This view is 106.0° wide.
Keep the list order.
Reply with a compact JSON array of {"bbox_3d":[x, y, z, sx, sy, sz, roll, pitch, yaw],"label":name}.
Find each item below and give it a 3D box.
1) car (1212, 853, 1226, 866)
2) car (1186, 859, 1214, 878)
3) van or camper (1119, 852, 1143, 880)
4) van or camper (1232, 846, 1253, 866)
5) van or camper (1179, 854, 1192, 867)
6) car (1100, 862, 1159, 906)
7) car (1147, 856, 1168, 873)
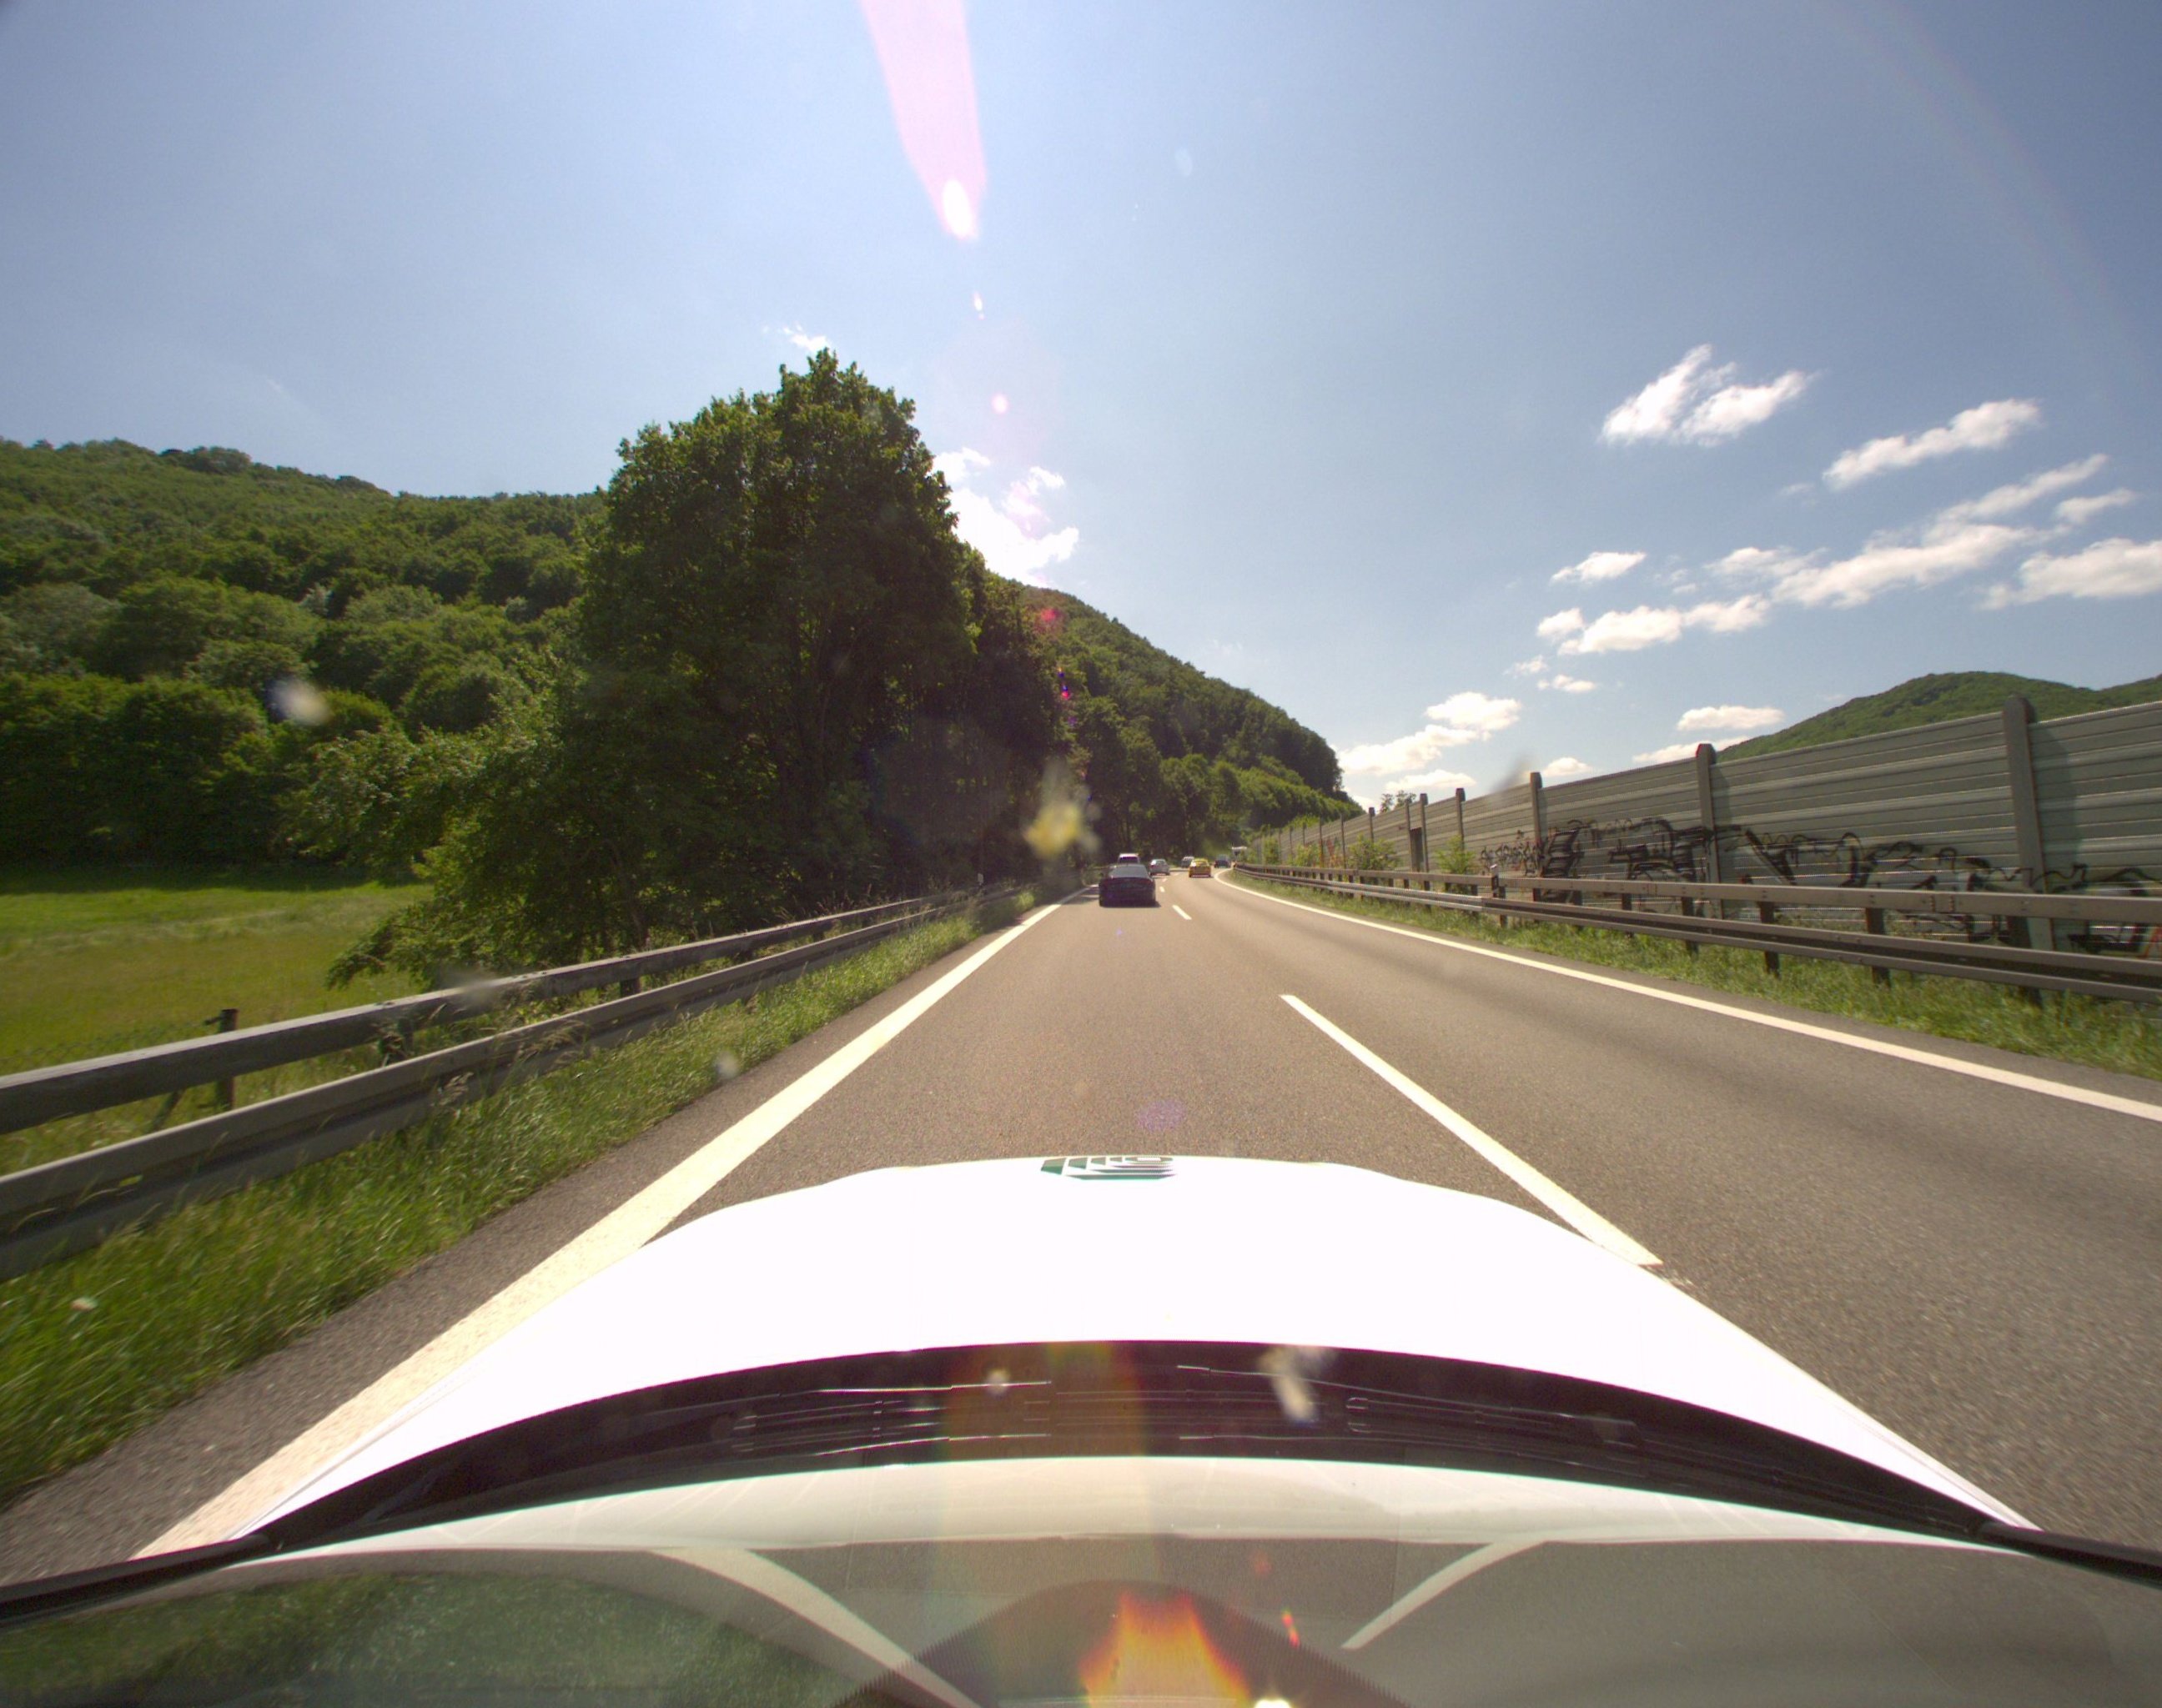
[{"bbox_3d":[18.018,0.698,106.341,1.763,1.637,4.009,-1,-1,9],"label":"car"},{"bbox_3d":[9.735,1.173,66.759,1.855,1.488,4.003,-2,-1,3],"label":"car"},{"bbox_3d":[3.334,0.817,54.745,1.386,1.816,4.001,-2,-1,2],"label":"van or camper"},{"bbox_3d":[25.100,0.355,126.157,2.436,2.918,6.153,-2,-1,18],"label":"van or camper"},{"bbox_3d":[13.795,0.861,107.645,1.549,1.534,3.513,-2,-1,8],"label":"van or camper"},{"bbox_3d":[1.606,0.980,28.069,1.831,1.349,4.001,-2,-1,1],"label":"car"},{"bbox_3d":[6.975,0.986,74.509,1.739,1.431,4.003,-2,-1,3],"label":"car"}]
